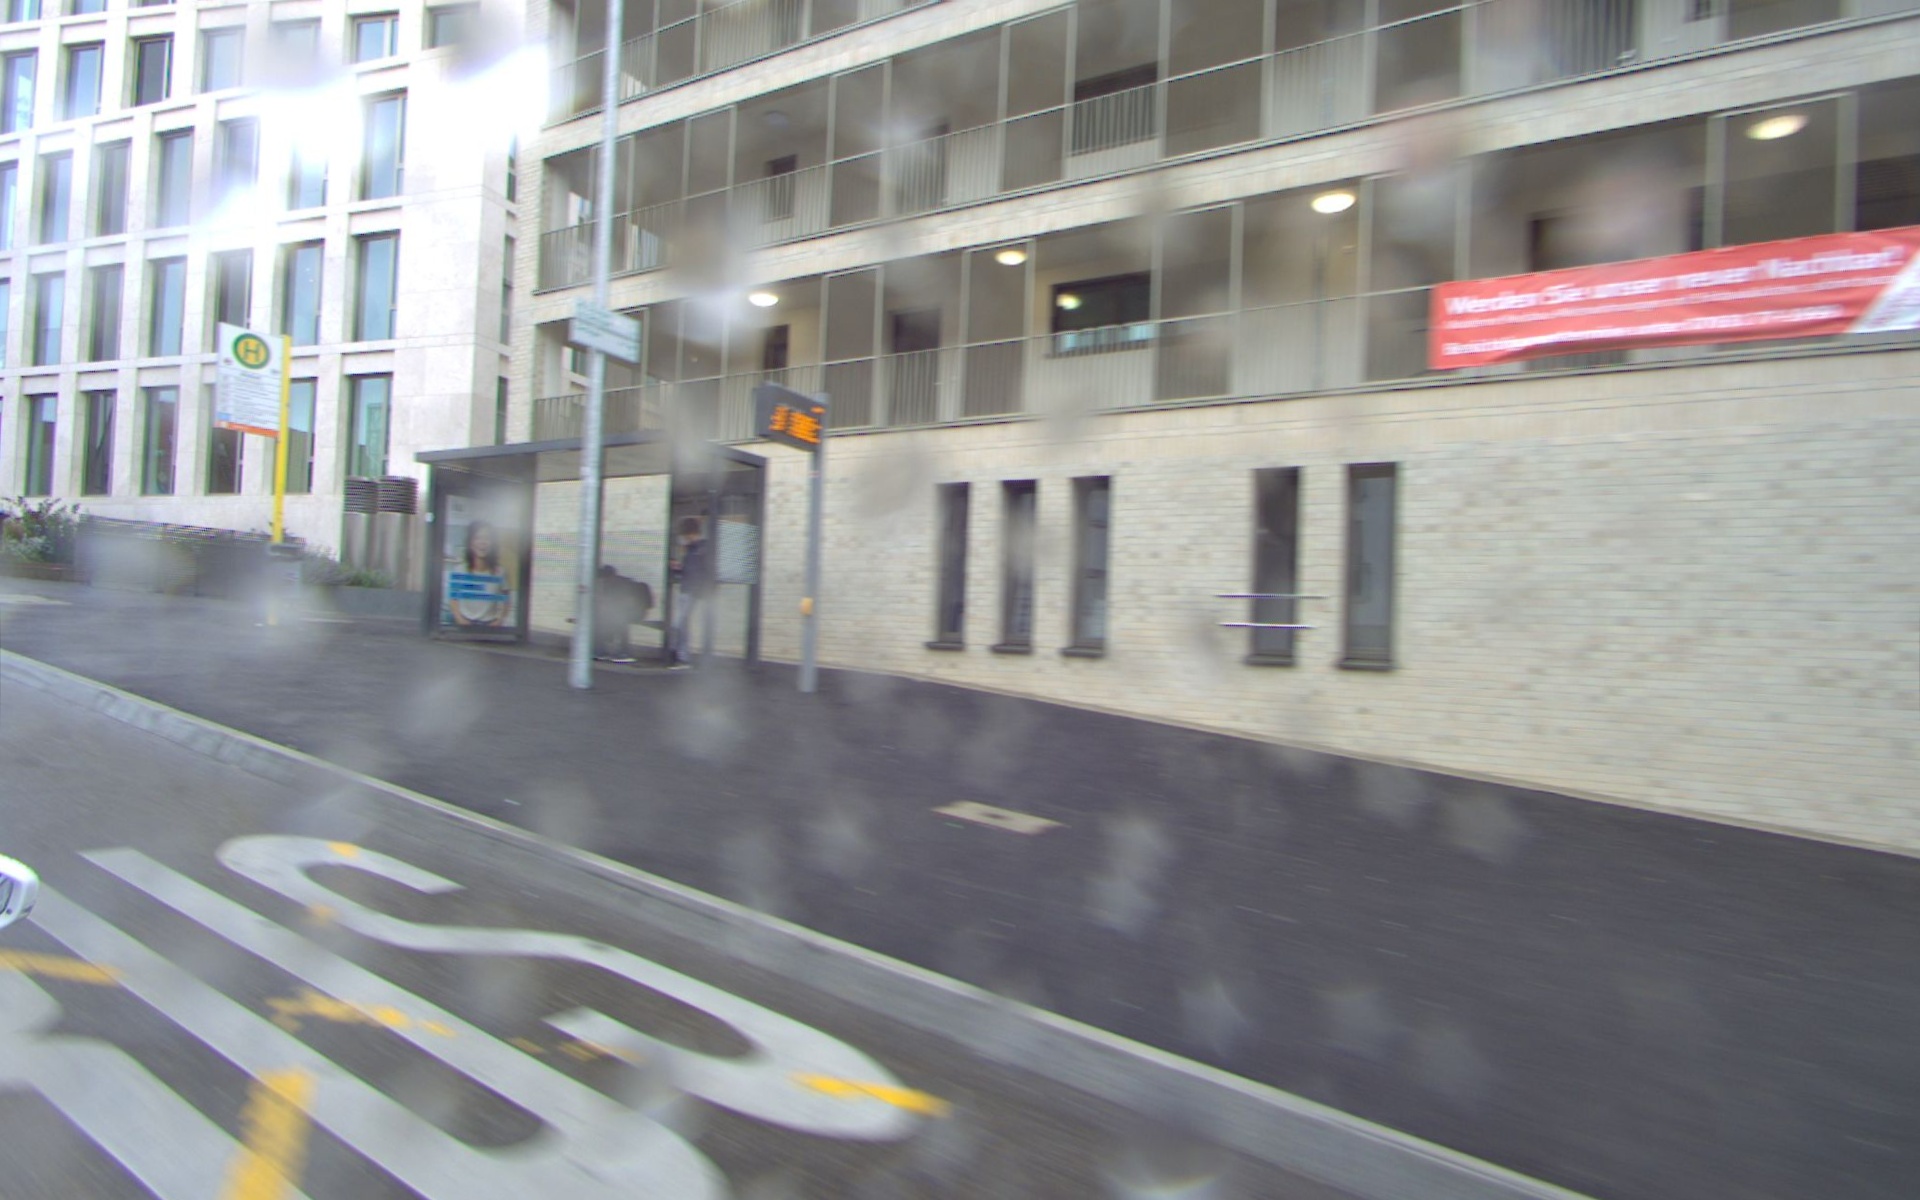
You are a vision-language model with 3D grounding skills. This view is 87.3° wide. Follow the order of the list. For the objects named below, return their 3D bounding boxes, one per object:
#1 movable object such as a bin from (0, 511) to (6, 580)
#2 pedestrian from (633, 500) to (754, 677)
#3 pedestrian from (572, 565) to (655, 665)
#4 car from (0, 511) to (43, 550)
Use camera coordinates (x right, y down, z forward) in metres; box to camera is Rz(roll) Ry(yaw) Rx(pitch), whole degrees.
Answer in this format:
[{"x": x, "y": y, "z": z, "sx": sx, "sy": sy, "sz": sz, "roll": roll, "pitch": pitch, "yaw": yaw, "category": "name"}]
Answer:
[{"x": -15.393, "y": -0.885, "z": 15.670, "sx": 0.569, "sy": 1.075, "sz": 0.596, "roll": 6, "pitch": 1, "yaw": 32, "category": "movable object such as a bin"}, {"x": -3.157, "y": -0.137, "z": 11.907, "sx": 1.004, "sy": 1.966, "sz": 0.782, "roll": 6, "pitch": 2, "yaw": 32, "category": "pedestrian"}, {"x": -4.367, "y": 0.191, "z": 12.694, "sx": 0.625, "sy": 1.177, "sz": 0.672, "roll": 6, "pitch": 2, "yaw": 32, "category": "pedestrian"}, {"x": -49.696, "y": -3.609, "z": 51.124, "sx": 1.746, "sy": 1.838, "sz": 4.313, "roll": 0, "pitch": -1, "yaw": 18, "category": "car"}]
